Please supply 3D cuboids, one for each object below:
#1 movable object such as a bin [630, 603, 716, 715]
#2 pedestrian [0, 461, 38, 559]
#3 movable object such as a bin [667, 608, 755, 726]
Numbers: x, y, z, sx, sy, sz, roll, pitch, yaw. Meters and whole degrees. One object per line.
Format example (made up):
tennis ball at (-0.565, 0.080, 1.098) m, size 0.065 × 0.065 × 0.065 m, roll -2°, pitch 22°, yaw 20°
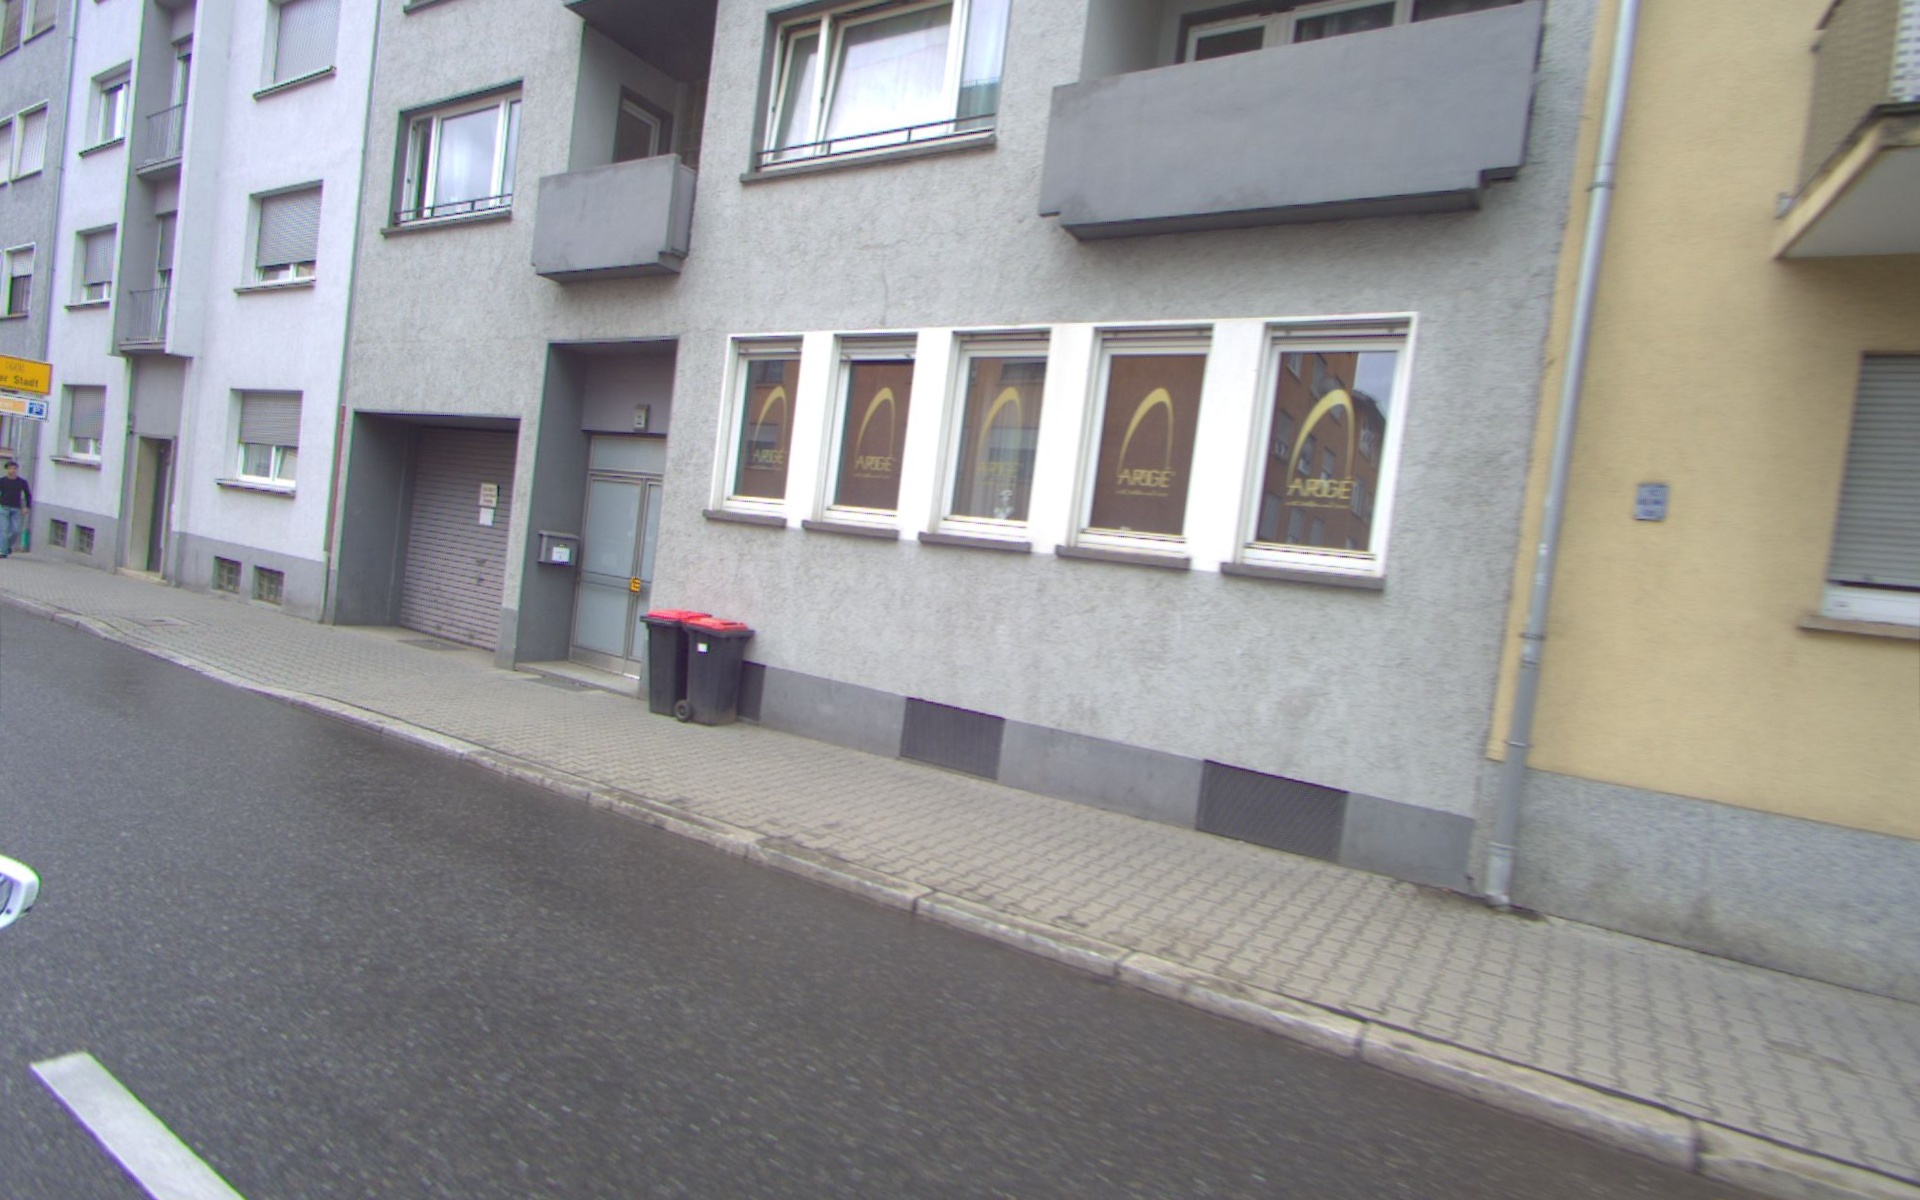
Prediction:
movable object such as a bin at (-2.692, 0.536, 9.447) m, size 0.467 × 0.976 × 0.561 m, roll 8°, pitch 5°, yaw 35°
pedestrian at (-17.750, -1.690, 18.773) m, size 0.730 × 1.776 × 0.654 m, roll 8°, pitch 4°, yaw 38°
movable object such as a bin at (-2.265, 0.592, 9.139) m, size 0.555 × 0.976 × 0.472 m, roll 8°, pitch 5°, yaw 34°
